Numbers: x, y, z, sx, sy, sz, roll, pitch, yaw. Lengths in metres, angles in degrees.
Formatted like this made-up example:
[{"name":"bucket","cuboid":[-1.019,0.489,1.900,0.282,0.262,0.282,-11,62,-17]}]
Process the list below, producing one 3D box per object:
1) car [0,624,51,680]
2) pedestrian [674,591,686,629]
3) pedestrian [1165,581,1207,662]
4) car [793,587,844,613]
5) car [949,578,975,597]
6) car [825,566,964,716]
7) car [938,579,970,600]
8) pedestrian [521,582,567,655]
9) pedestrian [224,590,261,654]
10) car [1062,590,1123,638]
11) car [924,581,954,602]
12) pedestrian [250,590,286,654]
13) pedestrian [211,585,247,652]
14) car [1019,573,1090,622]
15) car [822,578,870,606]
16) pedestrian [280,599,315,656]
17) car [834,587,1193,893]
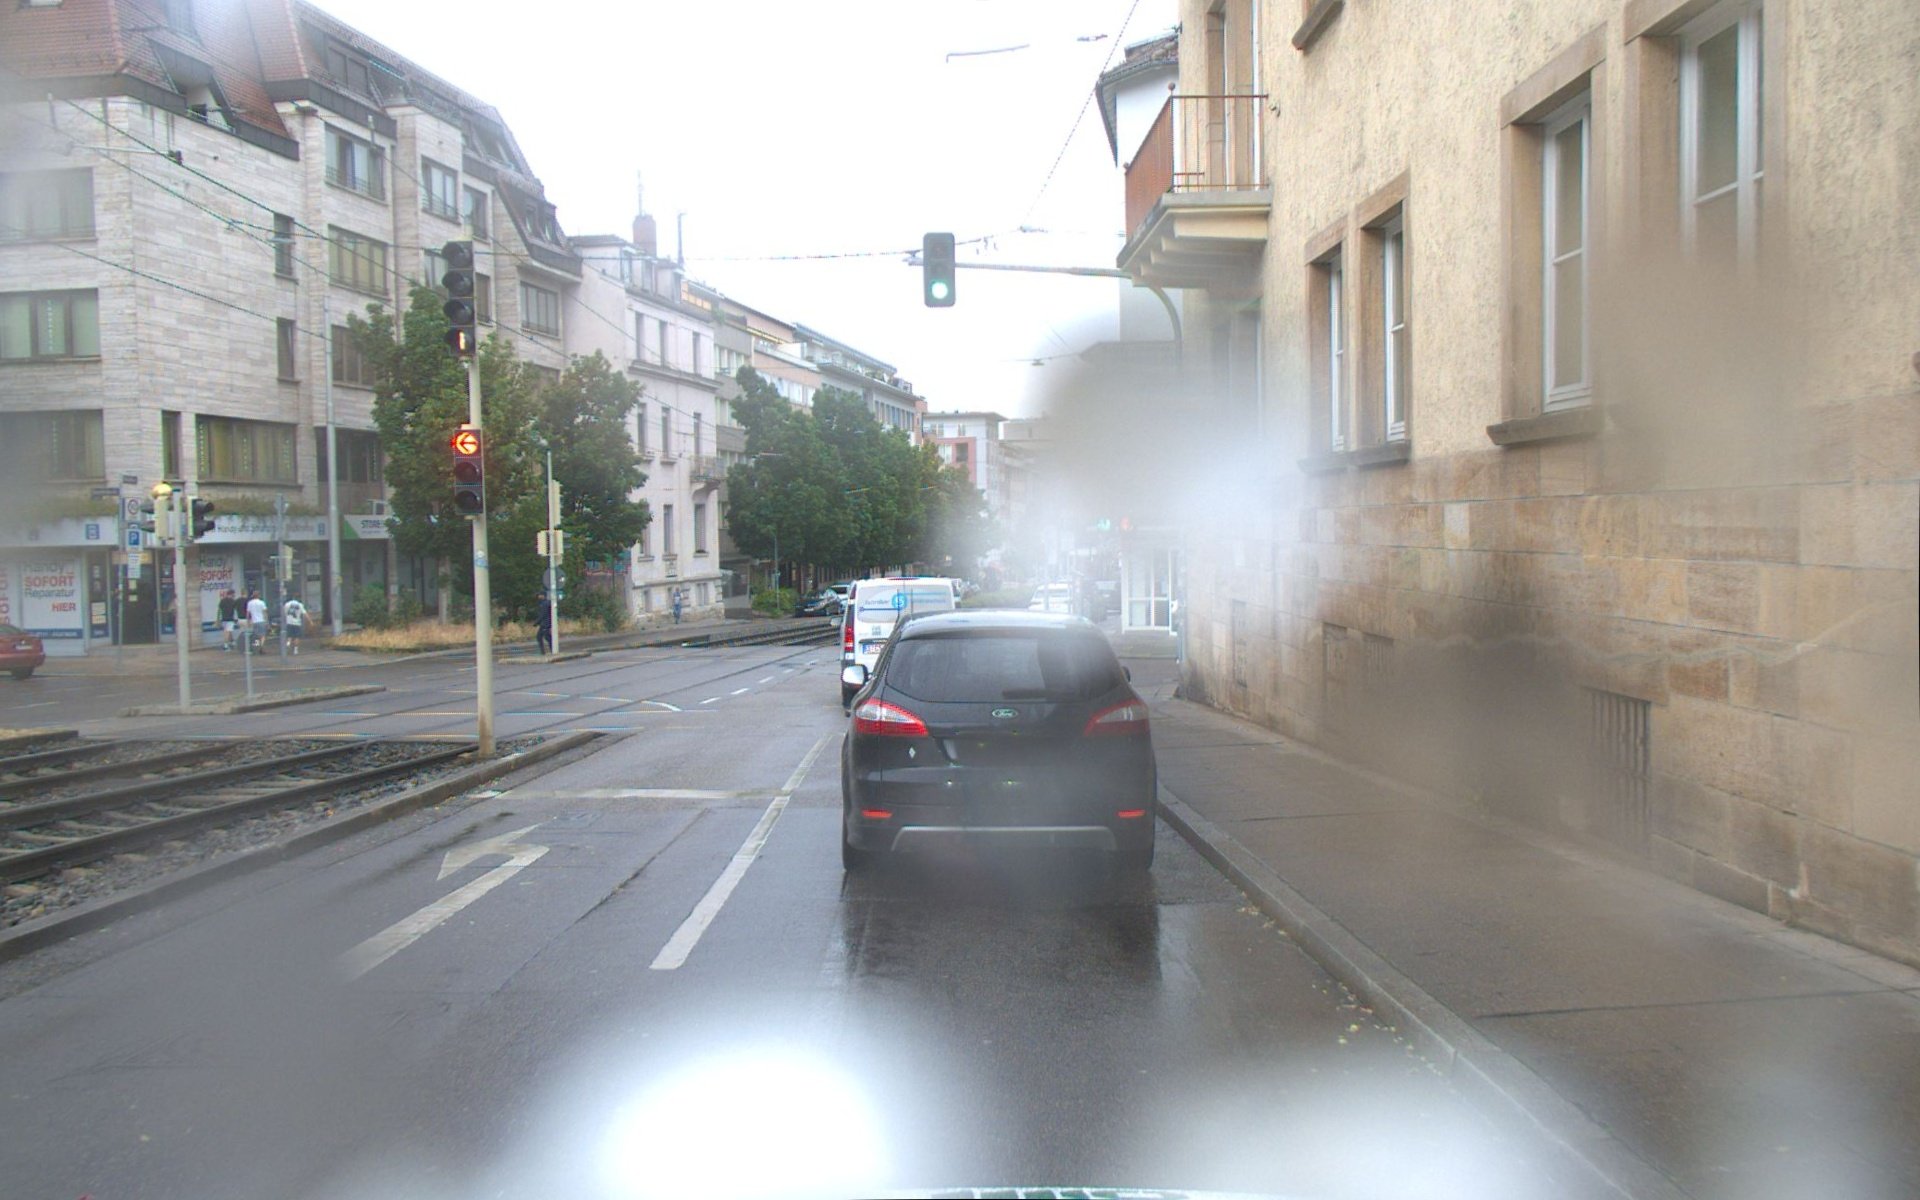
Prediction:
[{"name":"car","cuboid":[-24.309,1.273,40.240,3.614,1.341,1.595,-1,-1,8]},{"name":"pedestrian","cuboid":[-12.569,0.448,74.210,0.458,1.681,0.582,1,-1,-3]},{"name":"pedestrian","cuboid":[4.585,0.435,33.533,0.674,1.599,0.763,-2,-1,-2]},{"name":"car","cuboid":[-7.789,0.021,91.426,1.657,1.402,4.724,-1,-1,9]},{"name":"car","cuboid":[0.196,-1.071,143.718,1.658,1.601,4.049,-1,0,9]},{"name":"car","cuboid":[-0.990,0.596,25.677,1.948,2.096,4.643,1,-1,-2]},{"name":"car","cuboid":[-0.505,-0.884,136.956,1.816,1.665,4.939,-1,0,9]},{"name":"pedestrian","cuboid":[-10.830,0.482,43.085,0.911,1.862,0.959,1,-1,1]},{"name":"pedestrian","cuboid":[-19.964,0.612,46.041,0.634,1.780,0.684,1,-1,7]},{"name":"car","cuboid":[4.896,0.496,60.815,1.806,1.661,4.590,-1,0,10]},{"name":"car","cuboid":[-1.602,-0.641,127.659,1.632,1.585,4.049,-1,0,9]},{"name":"pedestrian","cuboid":[-19.247,0.612,46.010,0.634,1.754,0.684,1,-1,7]},{"name":"pedestrian","cuboid":[-20.768,0.529,47.019,0.634,1.875,0.684,1,-1,7]},{"name":"car","cuboid":[3.118,-0.071,54.002,1.763,1.481,4.590,-2,-1,10]},{"name":"car","cuboid":[-6.720,-0.474,97.899,1.816,1.576,4.724,-1,0,9]},{"name":"pedestrian","cuboid":[-18.467,0.761,46.116,0.634,1.576,0.684,1,-1,7]},{"name":"car","cuboid":[0.243,0.728,10.377,1.805,1.533,3.999,1,-1,-1]}]
